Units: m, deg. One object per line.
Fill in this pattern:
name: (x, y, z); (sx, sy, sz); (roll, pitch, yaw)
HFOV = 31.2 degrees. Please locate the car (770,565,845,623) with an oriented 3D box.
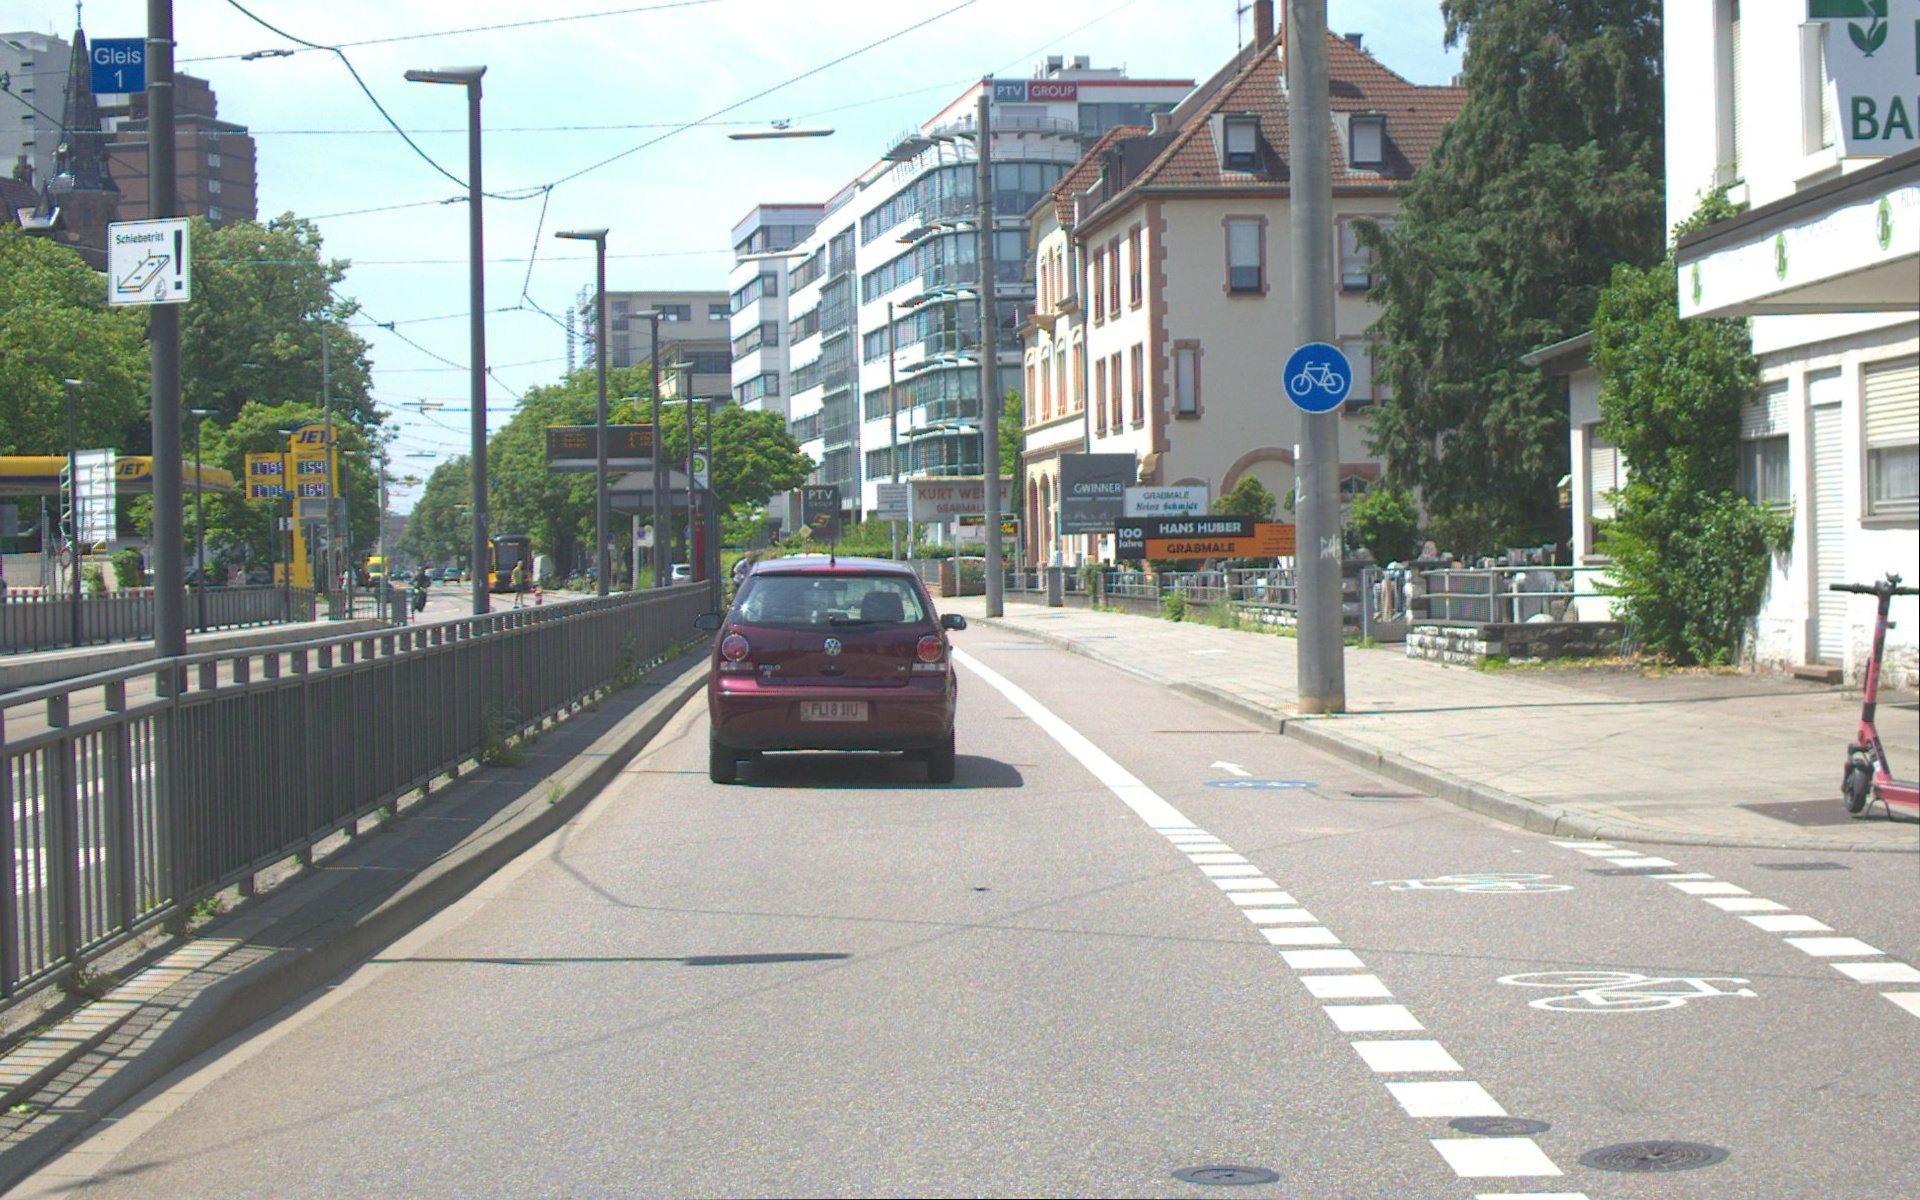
car: (-4.528, -0.193, 101.541); (1.993, 1.619, 4.632); (-2, 1, -5)

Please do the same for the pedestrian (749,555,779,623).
pedestrian: (-5.378, -0.305, 94.142); (0.744, 1.830, 0.792); (-2, 1, -4)

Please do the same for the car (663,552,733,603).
car: (-9.975, -0.887, 130.574); (1.993, 1.842, 4.001); (-2, 1, -14)

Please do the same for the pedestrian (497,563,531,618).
pedestrian: (-16.572, -0.362, 127.765); (1.109, 2.007, 1.039); (-1, 0, -1)

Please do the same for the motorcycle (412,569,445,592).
motorcycle: (-19.635, -0.723, 127.090); (0.872, 0.803, 1.909); (-2, 1, 2)

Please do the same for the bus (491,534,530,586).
bus: (-27.204, -2.411, 207.955); (2.144, 2.993, 6.575); (-2, 1, -8)

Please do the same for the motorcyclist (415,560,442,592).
motorcyclist: (-19.626, -0.880, 127.035); (0.849, 1.136, 0.634); (-2, 1, 2)

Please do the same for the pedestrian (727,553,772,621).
pedestrian: (-5.850, -0.372, 95.536); (1.168, 1.830, 0.792); (-2, 1, -4)

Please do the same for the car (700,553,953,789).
car: (-0.910, 0.427, 23.262); (1.561, 1.448, 3.062); (-2, 1, -2)

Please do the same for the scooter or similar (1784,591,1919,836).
scooter or similar: (4.660, 0.545, 16.845); (0.339, 1.174, 1.468); (-2, 1, -25)
